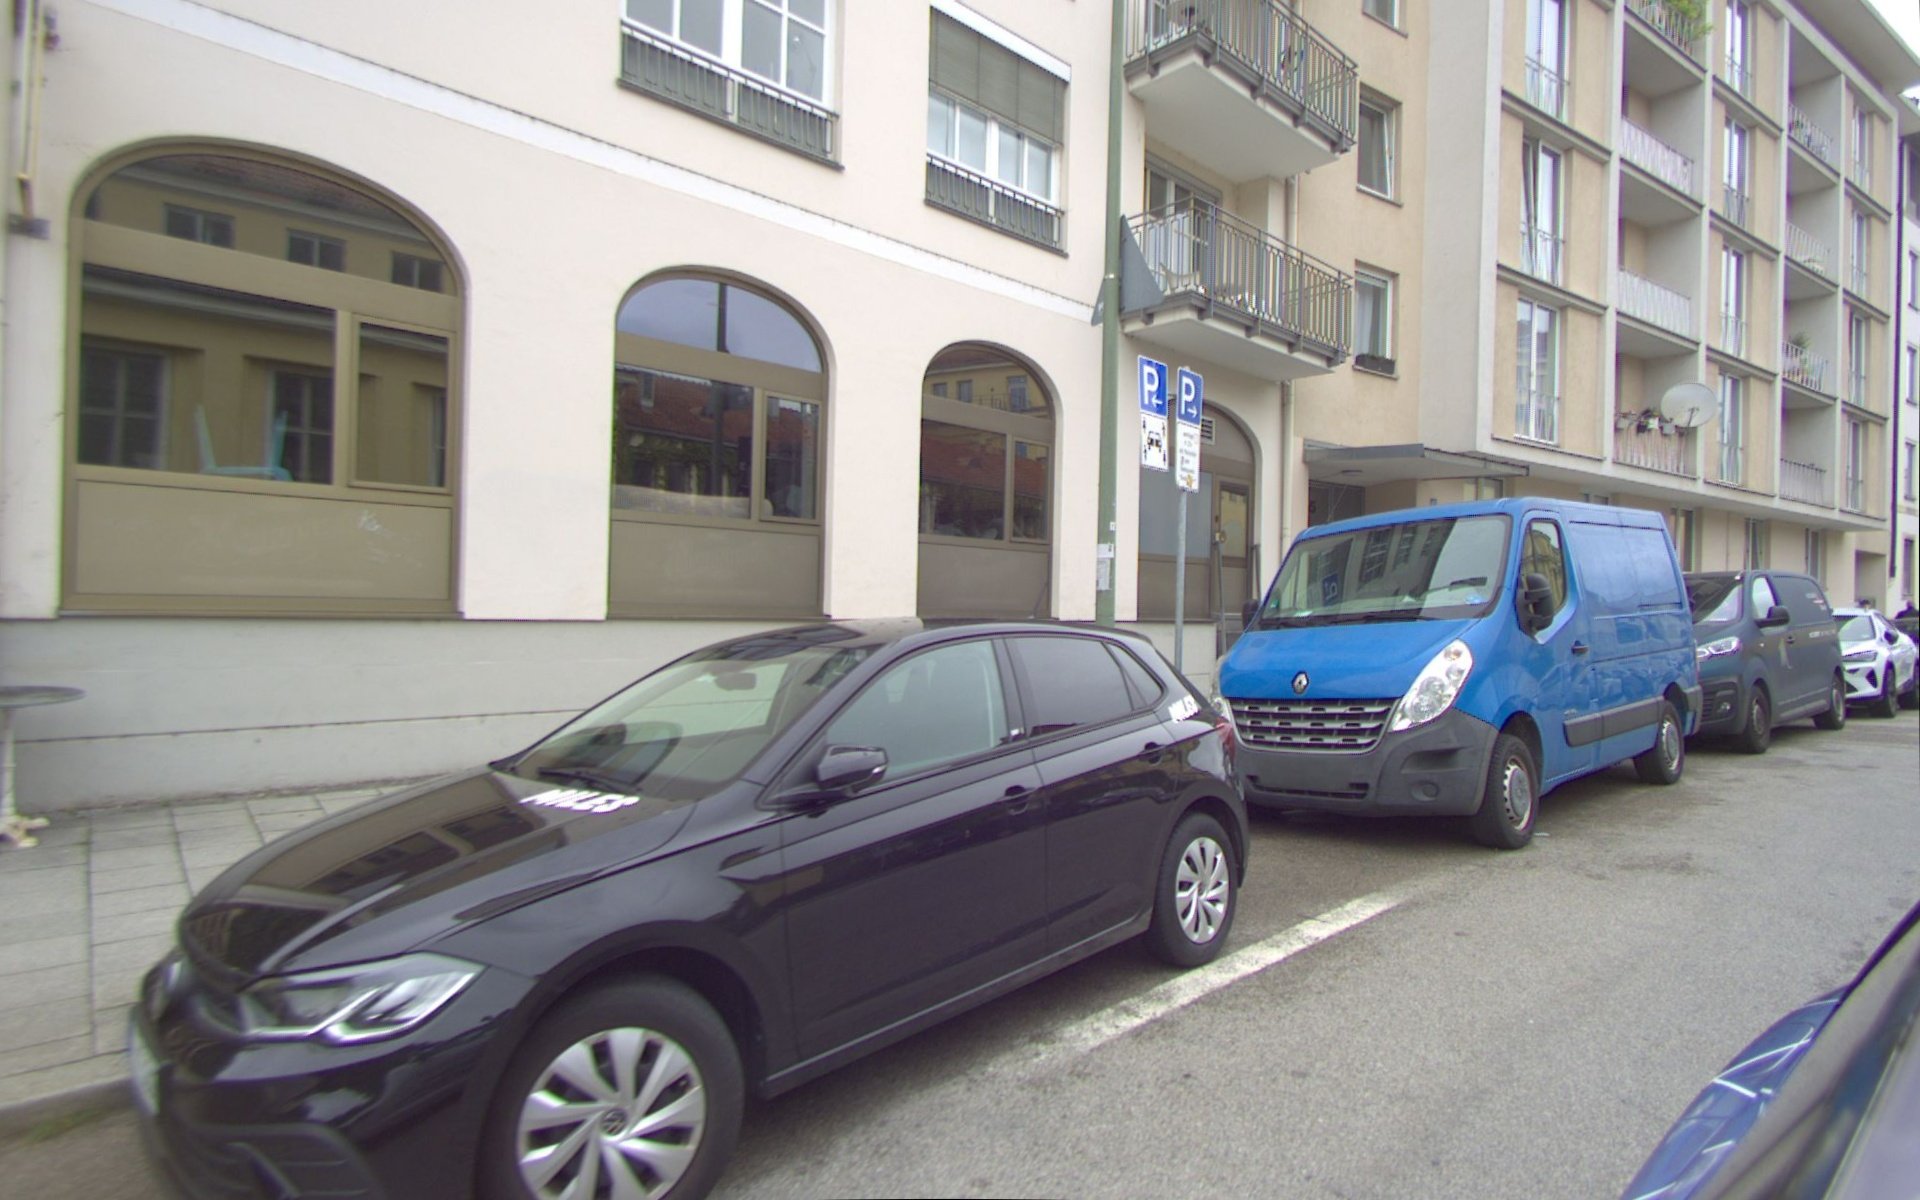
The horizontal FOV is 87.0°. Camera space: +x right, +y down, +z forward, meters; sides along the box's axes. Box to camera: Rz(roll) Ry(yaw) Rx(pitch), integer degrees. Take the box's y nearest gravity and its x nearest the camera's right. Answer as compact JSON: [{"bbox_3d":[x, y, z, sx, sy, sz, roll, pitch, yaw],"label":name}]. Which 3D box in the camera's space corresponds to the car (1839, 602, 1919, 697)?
[{"bbox_3d":[17.239,0.820,17.668,4.408,1.518,1.745,1,-1,-34],"label":"car"}]

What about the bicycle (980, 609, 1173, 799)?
[{"bbox_3d":[0.892,0.684,7.410,0.663,1.203,1.567,1,0,38],"label":"bicycle"}]

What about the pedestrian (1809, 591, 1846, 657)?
[{"bbox_3d":[21.434,0.590,24.999,0.549,1.604,0.533,1,0,-34],"label":"pedestrian"}]

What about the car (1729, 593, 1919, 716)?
[{"bbox_3d":[12.993,0.726,14.894,4.197,1.557,1.742,1,-2,-40],"label":"car"}]

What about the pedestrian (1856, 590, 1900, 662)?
[{"bbox_3d":[21.694,0.604,23.917,0.618,1.675,0.599,1,0,-34],"label":"pedestrian"}]

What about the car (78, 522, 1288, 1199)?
[{"bbox_3d":[-0.575,0.683,3.681,3.893,1.538,1.704,0,-3,-44],"label":"car"}]

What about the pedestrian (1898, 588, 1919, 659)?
[{"bbox_3d":[23.796,0.591,24.808,1.294,1.708,0.901,1,1,-35],"label":"pedestrian"}]

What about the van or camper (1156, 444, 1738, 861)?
[{"bbox_3d":[4.108,0.329,8.011,5.341,2.260,2.063,0,-3,-40],"label":"van or camper"}]

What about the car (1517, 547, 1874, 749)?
[{"bbox_3d":[8.477,0.476,11.499,4.845,1.840,1.969,0,-2,-38],"label":"car"}]
